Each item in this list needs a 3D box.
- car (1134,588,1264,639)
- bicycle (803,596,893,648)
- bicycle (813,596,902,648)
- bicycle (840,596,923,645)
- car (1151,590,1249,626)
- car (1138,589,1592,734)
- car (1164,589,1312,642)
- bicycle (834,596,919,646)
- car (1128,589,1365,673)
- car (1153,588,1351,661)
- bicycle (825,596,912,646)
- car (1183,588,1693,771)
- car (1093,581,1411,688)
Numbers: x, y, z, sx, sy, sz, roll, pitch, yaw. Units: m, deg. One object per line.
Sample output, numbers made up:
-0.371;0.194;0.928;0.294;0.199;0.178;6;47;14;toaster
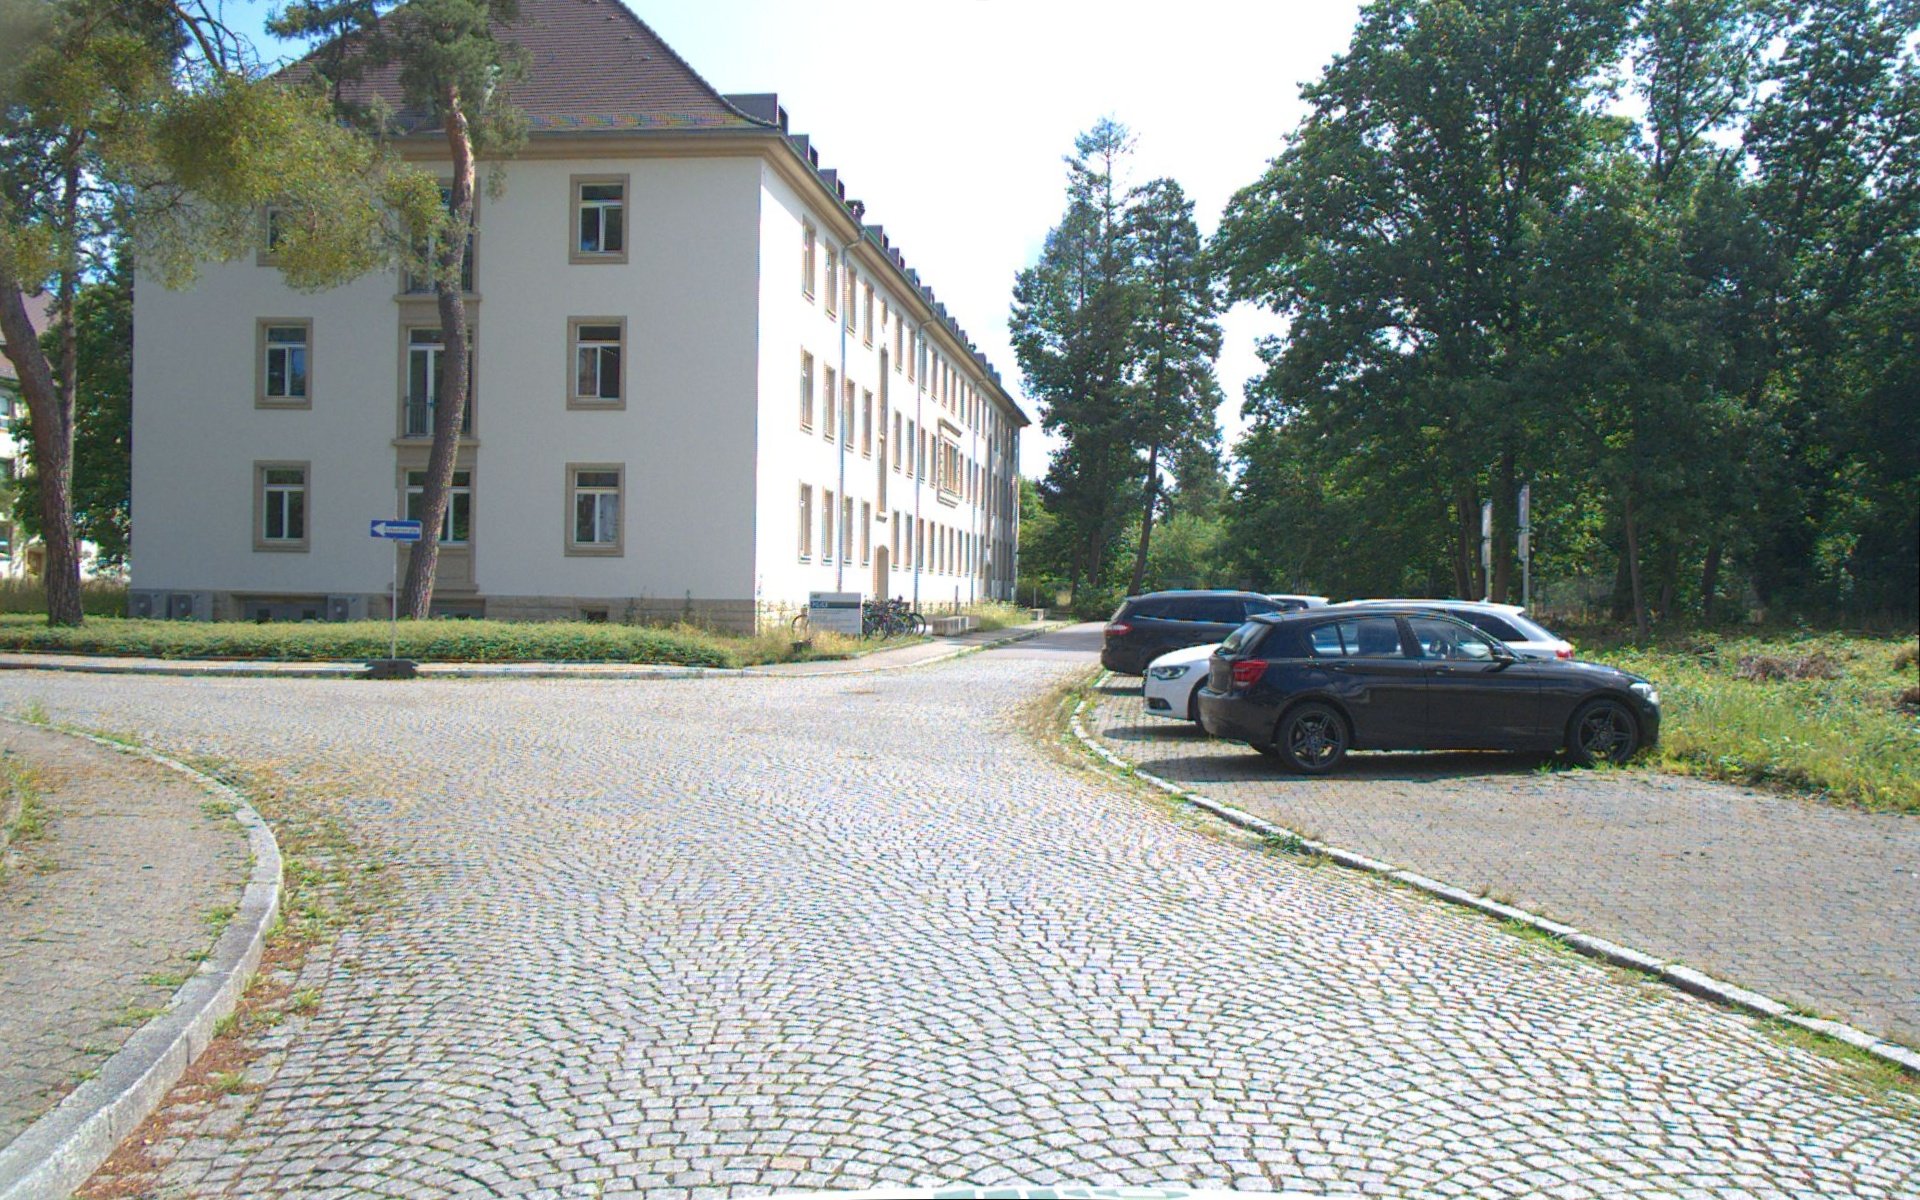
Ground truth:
7.812;0.447;54.055;4.097;1.570;1.821;-1;-1;9;car
-2.806;0.540;41.493;2.174;1.282;0.623;0;0;13;bicycle
-2.613;0.556;42.288;2.174;1.282;0.623;0;0;9;bicycle
-2.126;0.553;45.054;2.174;1.282;0.623;0;0;9;bicycle
10.302;0.343;70.900;4.097;1.510;1.821;-1;-1;9;car
4.420;0.668;18.695;4.759;1.498;1.876;-1;1;6;car
8.134;0.456;48.568;4.175;1.510;1.821;-1;-1;9;car
-2.231;0.555;44.049;2.174;1.282;0.623;0;0;9;bicycle
5.348;0.578;31.352;4.305;1.510;1.767;-1;-1;6;car
6.321;0.531;36.012;4.117;1.510;1.821;-1;-1;9;car
-2.391;0.539;43.197;2.174;1.282;0.623;0;0;13;bicycle
4.356;0.688;15.498;4.238;1.526;1.829;-1;1;-3;car
4.494;0.532;26.009;4.750;1.580;1.881;-1;-1;6;car
